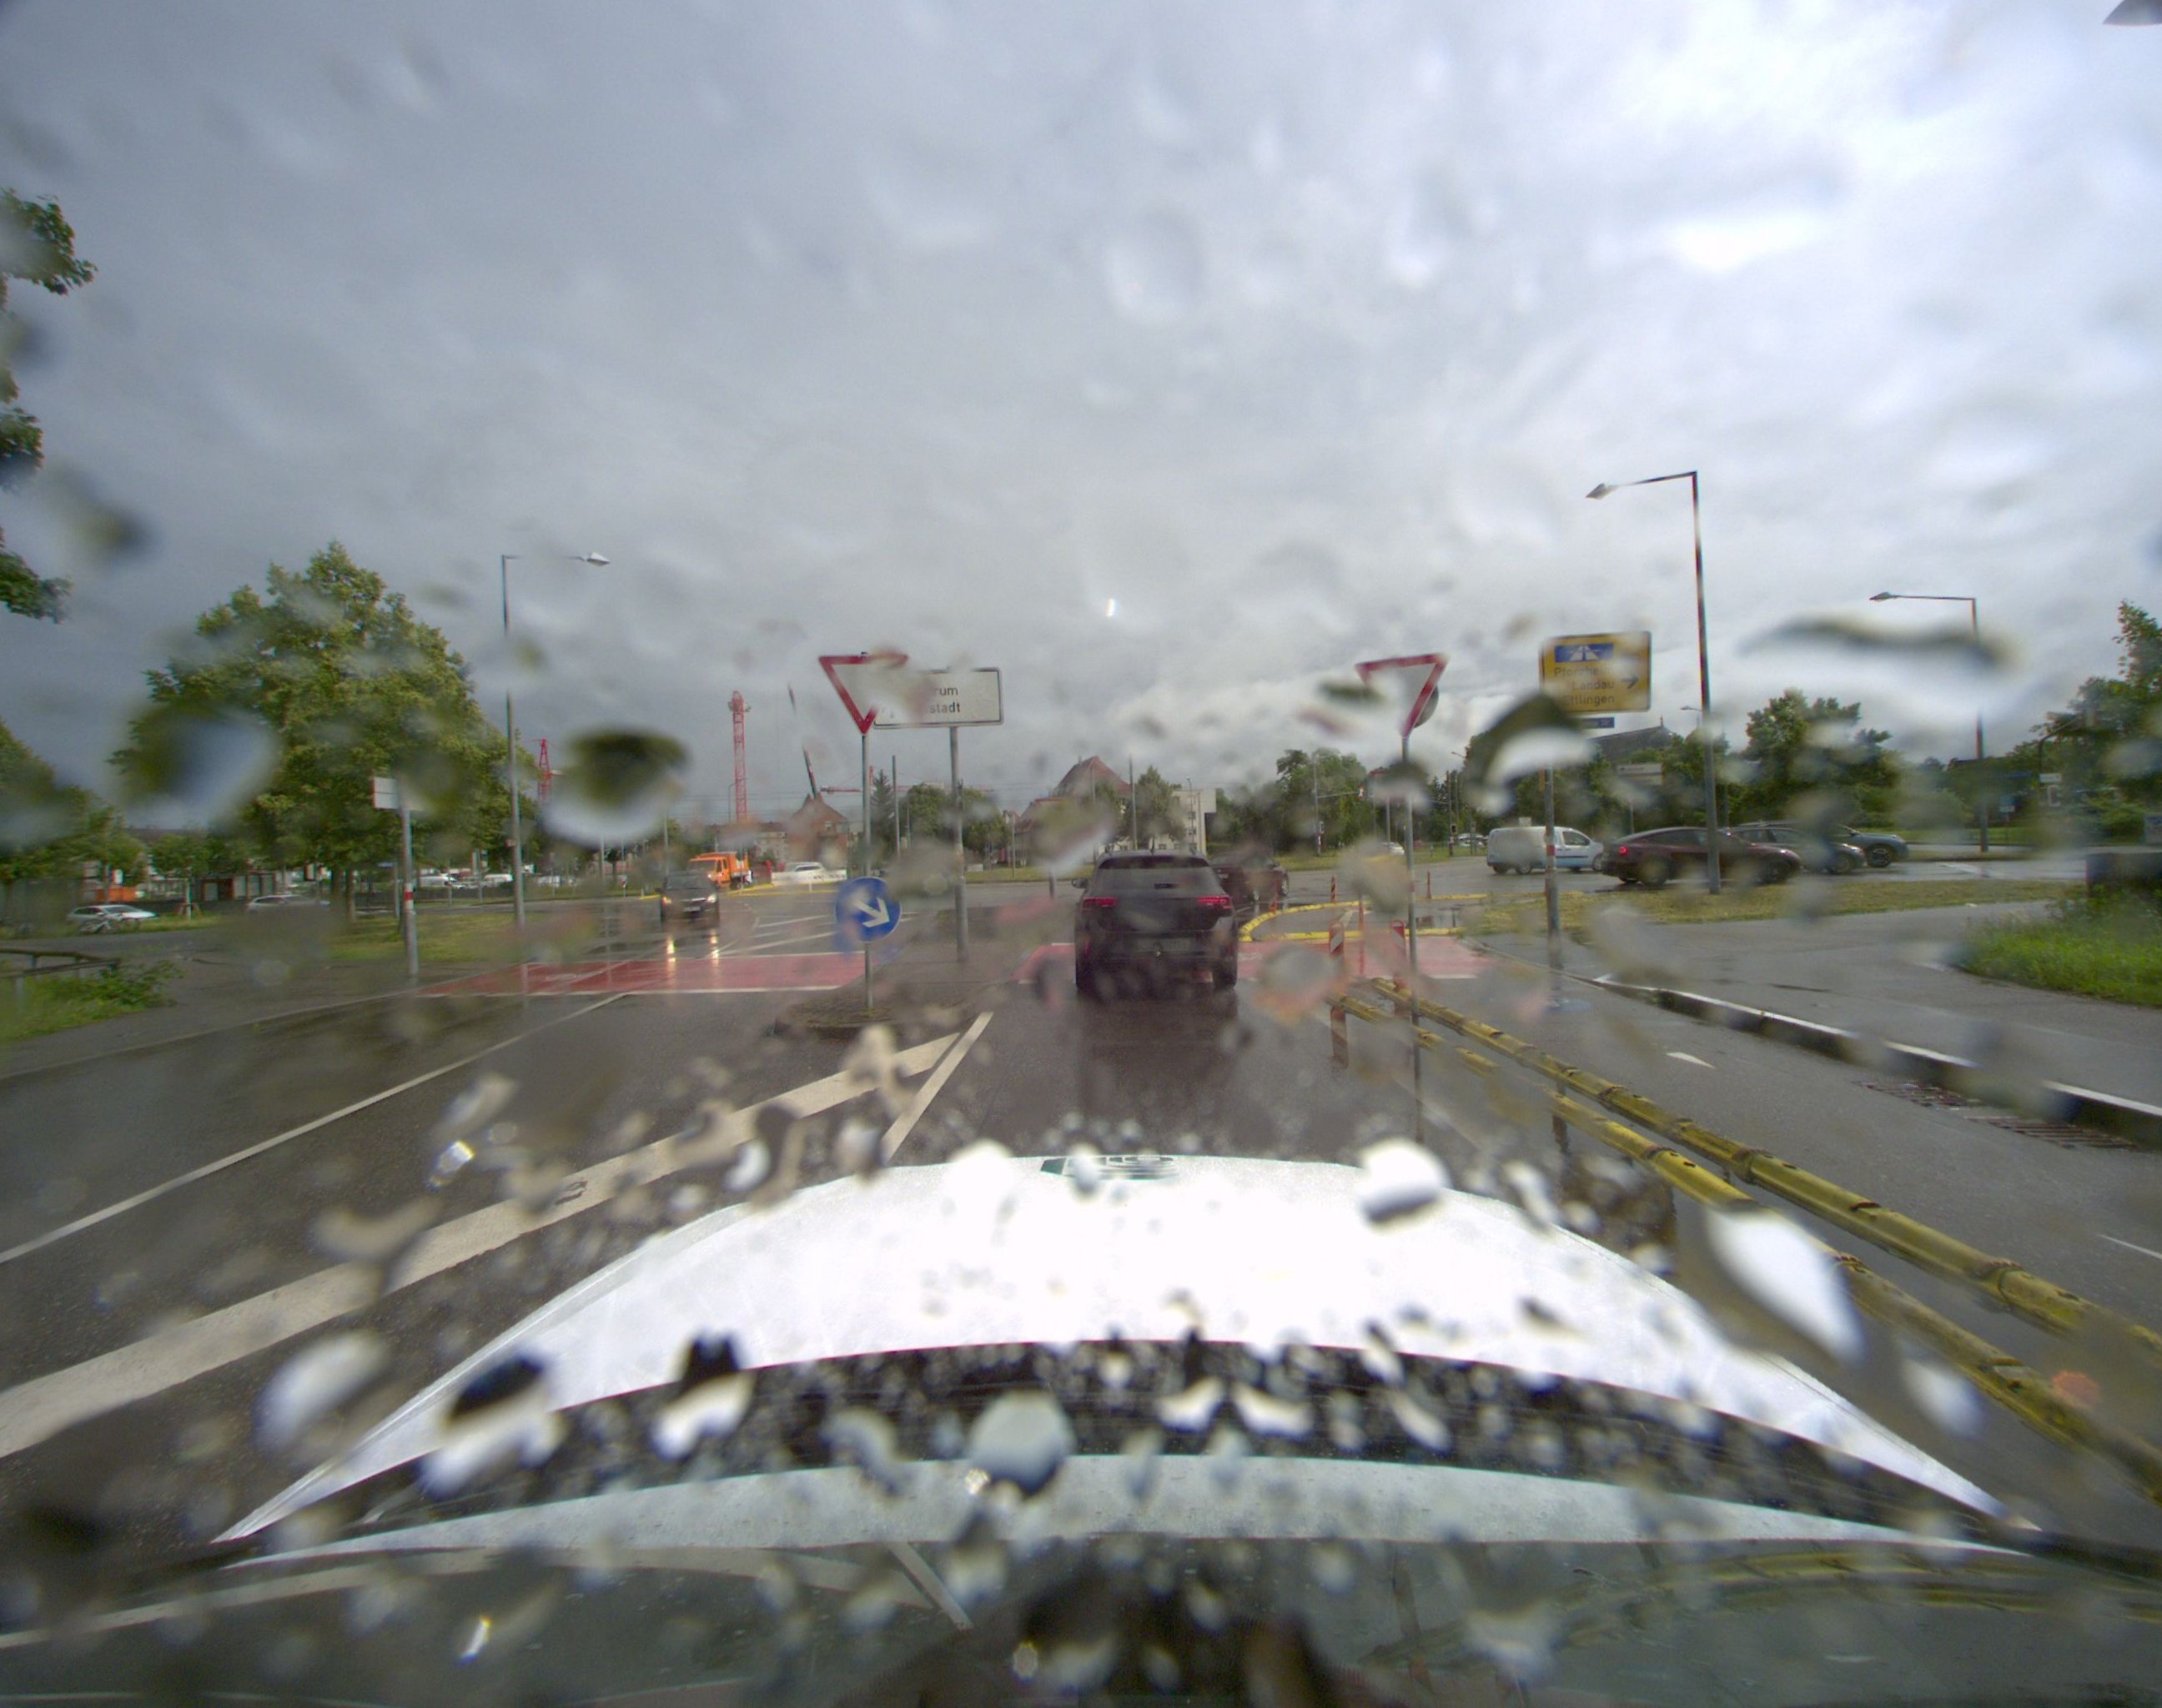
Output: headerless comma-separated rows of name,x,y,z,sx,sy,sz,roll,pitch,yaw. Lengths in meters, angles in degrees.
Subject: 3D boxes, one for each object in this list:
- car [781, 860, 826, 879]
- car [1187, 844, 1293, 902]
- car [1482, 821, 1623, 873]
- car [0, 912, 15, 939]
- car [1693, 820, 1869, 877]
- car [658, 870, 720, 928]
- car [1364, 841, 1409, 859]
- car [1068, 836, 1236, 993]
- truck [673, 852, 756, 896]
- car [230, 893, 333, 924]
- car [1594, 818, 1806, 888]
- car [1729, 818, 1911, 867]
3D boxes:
car,-24.805,1.357,72.922,3.519,1.584,1.551,-2,0,-32
car,4.729,0.509,23.824,1.718,1.514,3.627,-2,0,34
car,18.239,-0.280,31.617,4.379,1.809,1.868,-2,0,-3
car,-69.378,4.513,50.576,4.378,1.628,1.632,-2,0,2
car,22.316,-0.146,26.150,3.906,1.644,1.680,-2,0,23
car,-12.572,1.360,26.008,1.575,1.648,3.619,-2,0,-29
car,28.200,-0.374,75.244,1.738,1.548,3.556,-2,0,-29
car,0.723,0.632,10.233,1.703,1.574,3.681,-1,0,-1
truck,-23.986,1.212,53.717,2.316,2.650,7.085,-2,0,-1
car,-47.888,3.247,48.836,4.384,1.628,1.630,-2,0,-1
car,17.408,-0.025,23.171,4.308,1.725,2.009,-3,0,17
car,25.871,-0.383,28.722,4.350,1.548,1.881,-2,0,24
